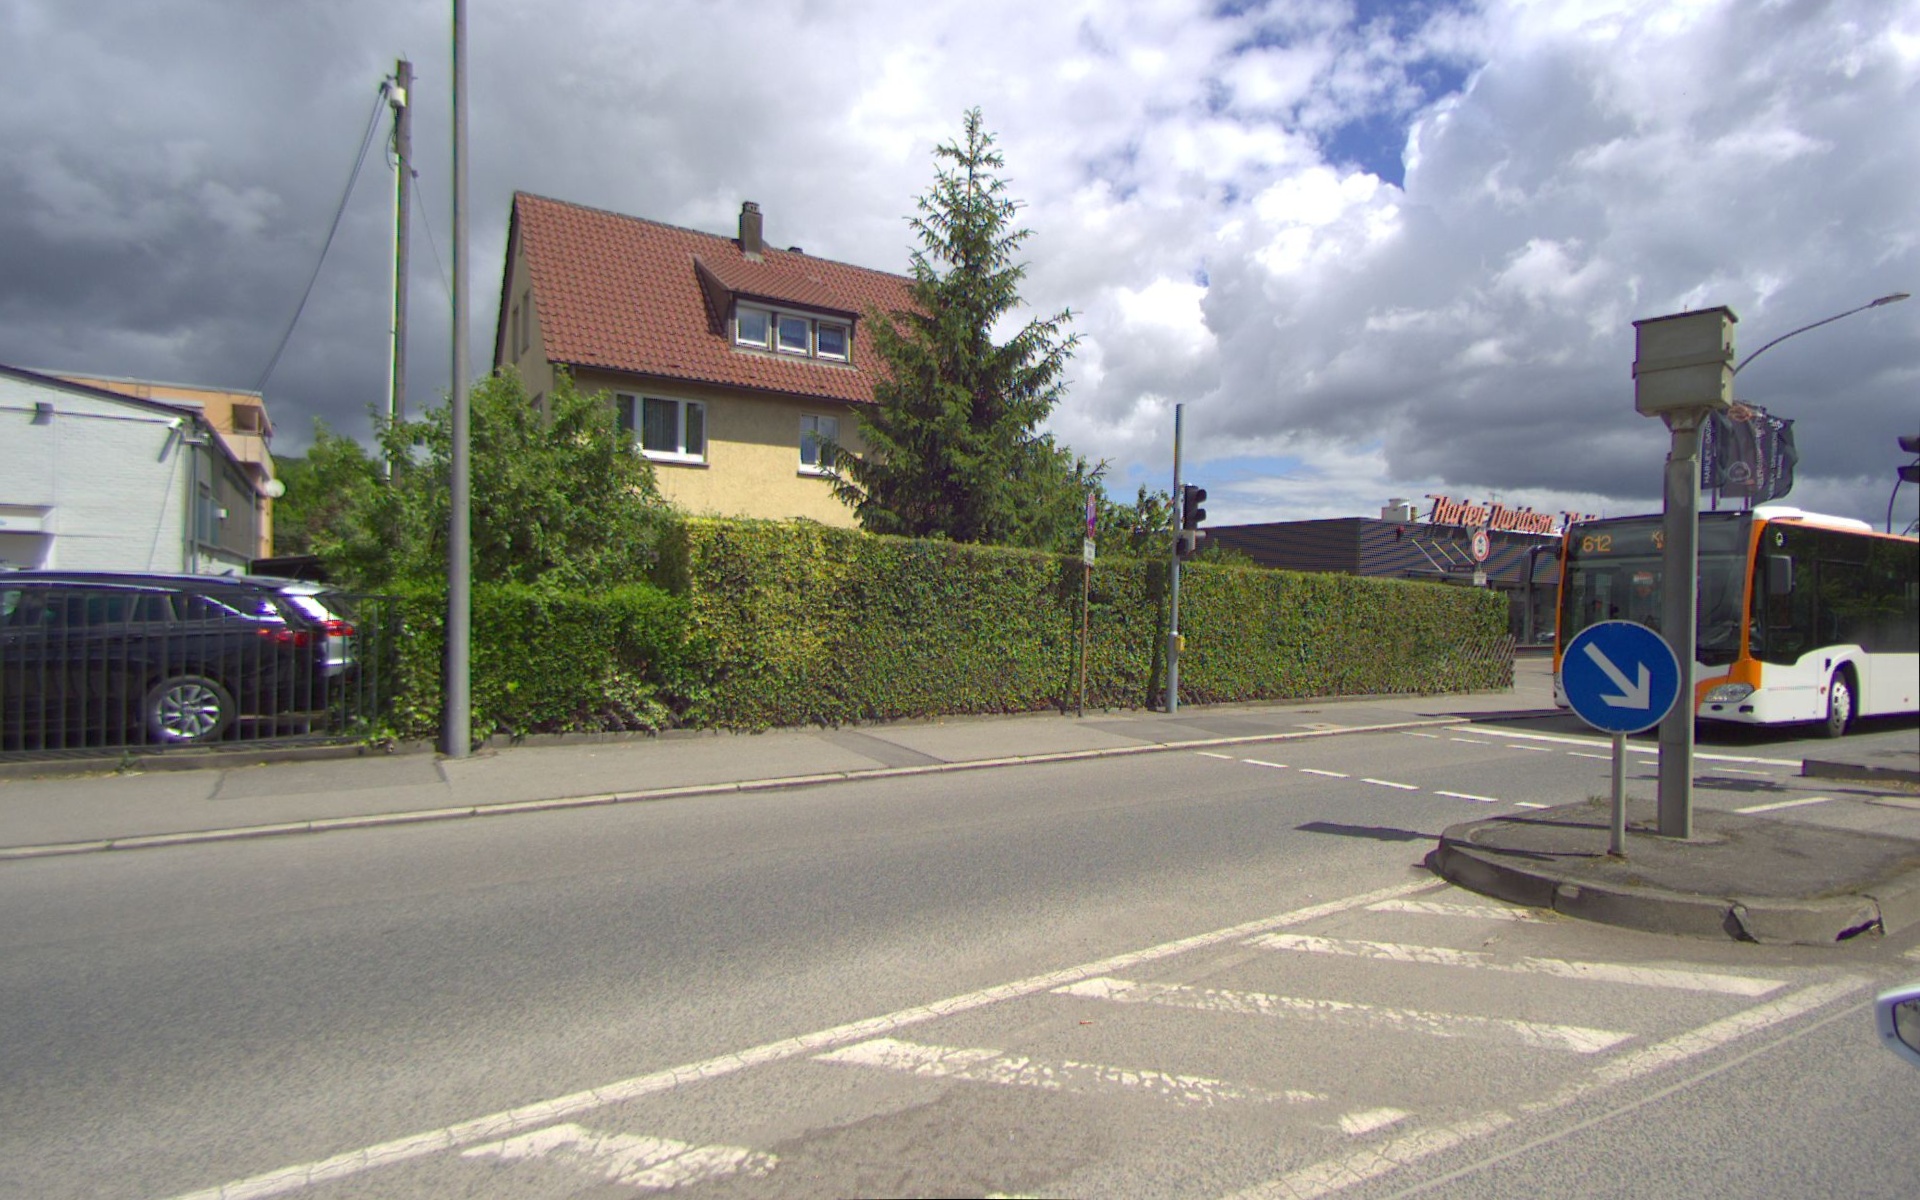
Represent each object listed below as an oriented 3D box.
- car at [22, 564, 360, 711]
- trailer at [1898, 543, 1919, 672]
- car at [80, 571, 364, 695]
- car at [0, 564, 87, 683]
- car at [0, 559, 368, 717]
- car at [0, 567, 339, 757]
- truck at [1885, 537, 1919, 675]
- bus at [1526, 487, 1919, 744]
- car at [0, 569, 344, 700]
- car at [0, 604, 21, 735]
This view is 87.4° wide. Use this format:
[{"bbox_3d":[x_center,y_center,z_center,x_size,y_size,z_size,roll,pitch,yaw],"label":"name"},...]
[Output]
[{"bbox_3d":[-11.838,0.567,15.870,3.953,2.040,1.984,2,0,-30],"label":"car"},{"bbox_3d":[36.933,0.453,36.150,15.429,4.107,2.775,2,0,-40],"label":"trailer"},{"bbox_3d":[-13.334,0.593,18.513,3.953,2.040,1.984,2,0,-30],"label":"car"},{"bbox_3d":[-17.998,0.353,17.409,3.953,2.040,1.984,2,0,-30],"label":"car"},{"bbox_3d":[-9.027,0.401,11.345,3.953,1.561,1.984,2,0,-30],"label":"car"},{"bbox_3d":[-7.867,0.484,8.841,3.997,1.502,1.850,2,0,-31],"label":"car"},{"bbox_3d":[31.564,0.270,31.595,6.448,4.107,2.775,2,0,-40],"label":"truck"},{"bbox_3d":[13.966,0.365,16.228,12.123,3.071,2.706,2,-1,-31],"label":"bus"},{"bbox_3d":[-10.735,0.440,13.617,3.953,1.569,1.984,2,0,-30],"label":"car"},{"bbox_3d":[-16.721,1.047,14.685,3.953,2.040,1.984,2,0,-30],"label":"car"}]
